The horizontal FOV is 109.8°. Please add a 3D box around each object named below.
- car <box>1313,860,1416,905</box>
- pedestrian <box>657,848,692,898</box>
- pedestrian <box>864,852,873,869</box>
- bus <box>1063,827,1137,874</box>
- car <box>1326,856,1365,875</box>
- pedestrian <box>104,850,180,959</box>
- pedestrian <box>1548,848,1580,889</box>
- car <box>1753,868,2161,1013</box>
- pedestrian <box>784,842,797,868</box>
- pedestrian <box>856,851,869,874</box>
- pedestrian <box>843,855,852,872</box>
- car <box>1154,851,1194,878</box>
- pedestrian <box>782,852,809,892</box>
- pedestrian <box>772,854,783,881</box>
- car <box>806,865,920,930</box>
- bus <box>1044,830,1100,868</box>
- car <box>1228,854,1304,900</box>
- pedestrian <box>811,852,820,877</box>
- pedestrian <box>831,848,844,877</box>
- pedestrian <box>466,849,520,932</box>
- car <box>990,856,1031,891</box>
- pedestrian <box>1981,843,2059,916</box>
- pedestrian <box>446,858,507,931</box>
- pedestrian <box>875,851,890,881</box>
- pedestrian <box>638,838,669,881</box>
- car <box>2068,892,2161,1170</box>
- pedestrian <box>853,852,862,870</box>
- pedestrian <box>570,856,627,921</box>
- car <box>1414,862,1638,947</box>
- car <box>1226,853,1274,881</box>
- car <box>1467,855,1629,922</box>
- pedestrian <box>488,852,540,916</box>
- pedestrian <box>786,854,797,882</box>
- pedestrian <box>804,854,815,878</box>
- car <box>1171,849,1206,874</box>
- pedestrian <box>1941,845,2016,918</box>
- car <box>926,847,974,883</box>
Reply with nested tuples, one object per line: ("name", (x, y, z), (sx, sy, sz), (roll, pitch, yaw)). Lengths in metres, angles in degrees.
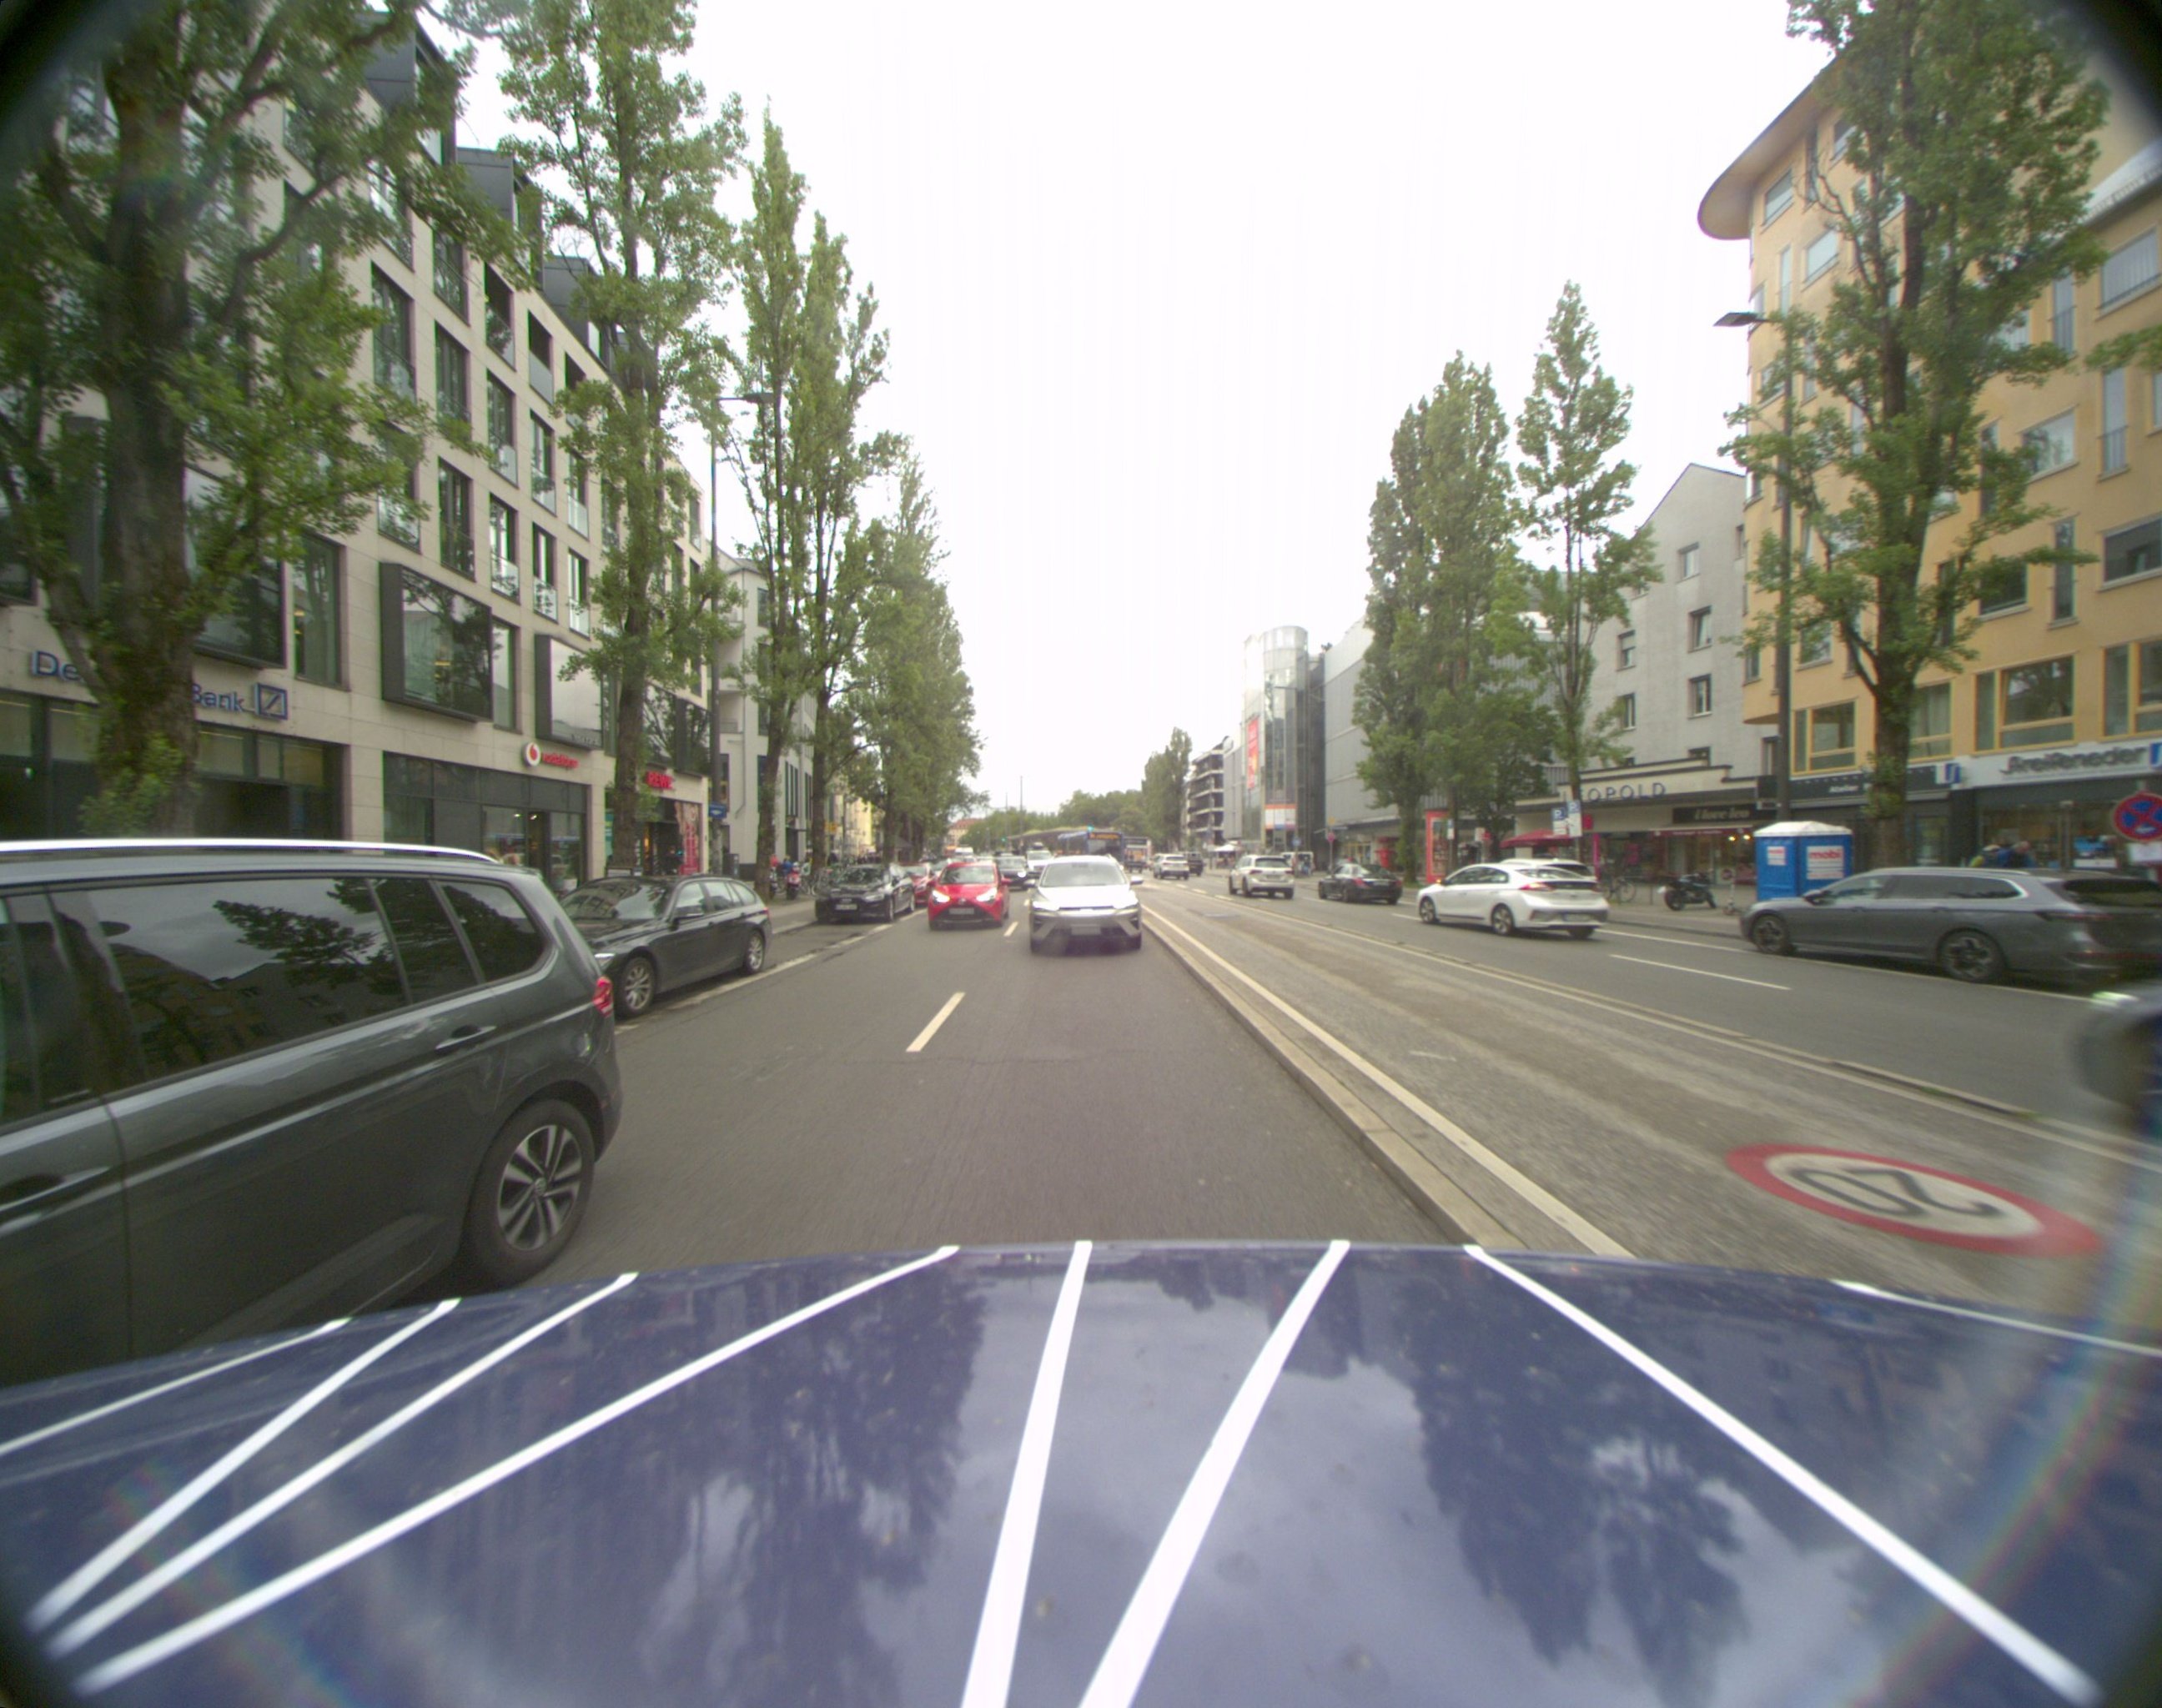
("car", (10.053, 0.970, 27.386), (1.944, 1.426, 4.538), (0, 0, -1))
("pedestrian", (-15.458, 0.714, 28.905), (0.820, 1.858, 0.938), (1, 1, -2))
("pedestrian", (-18.729, 0.558, 66.996), (0.684, 1.549, 0.749), (0, 1, -10))
("bus", (1.078, -0.290, 53.160), (2.944, 2.927, 11.201), (-1, 1, -10))
("car", (20.721, 0.889, 59.730), (1.926, 1.430, 4.509), (0, 0, 6))
("pedestrian", (-13.191, 0.691, 10.682), (0.503, 1.482, 0.548), (0, 1, 26))
("pedestrian", (22.248, 0.670, 35.010), (0.860, 1.888, 0.832), (0, 1, -7))
("car", (12.121, 0.997, 10.470), (1.944, 1.485, 4.295), (0, 0, 1))
("pedestrian", (-18.147, 0.045, 47.469), (0.548, 1.615, 0.508), (-1, 2, 20))
("pedestrian", (-15.837, 0.604, 55.053), (0.802, 1.627, 1.023), (0, 1, -8))
("pedestrian", (-21.533, 0.902, 70.070), (0.693, 1.576, 0.772), (0, 1, -12))
("car", (6.186, 0.658, 51.047), (1.865, 1.701, 4.534), (1, 0, -3))
("pedestrian", (-11.675, 0.713, 31.052), (0.792, 1.610, 0.613), (1, 1, 15))
("pedestrian", (-18.453, 0.789, 46.268), (0.550, 1.615, 0.506), (-2, 2, -23))
("car", (-5.581, 1.051, 20.025), (1.852, 1.420, 4.424), (0, 0, -2))
("bus", (-0.951, -0.444, 64.904), (2.944, 2.927, 11.201), (-1, 1, -10))
("car", (7.198, 0.839, 30.039), (1.944, 1.632, 4.463), (0, 0, 1))
("pedestrian", (-17.144, 0.691, 49.028), (0.492, 1.625, 0.569), (0, 1, -12))
("pedestrian", (-16.342, 0.581, 51.071), (0.648, 1.913, 0.925), (1, 1, -7))
("pedestrian", (-12.874, 0.768, 16.643), (0.794, 1.762, 0.683), (1, 1, 30))
("car", (-3.272, 0.874, 35.127), (1.741, 1.462, 4.048), (-1, 0, -6))
("pedestrian", (21.693, 0.578, 17.570), (0.842, 1.616, 0.763), (-2, 2, -1))
("pedestrian", (-13.768, 0.909, 17.322), (0.738, 1.611, 0.837), (0, 1, -4))
("pedestrian", (-11.407, 0.673, 43.622), (0.716, 1.666, 0.783), (1, 1, -7))
("pedestrian", (-16.594, 0.218, 29.488), (0.755, 1.651, 0.796), (0, 1, -1))
("car", (6.584, 0.949, 1.919), (1.998, 1.423, 4.772), (1, 0, 1))
("pedestrian", (-20.481, 0.655, 69.556), (0.693, 1.639, 0.797), (0, 1, -12))
("pedestrian", (-11.904, 0.835, 18.778), (0.837, 1.567, 0.937), (0, 1, -6))
("car", (9.060, 0.939, 15.988), (1.945, 1.485, 4.293), (0, 0, -5))
("car", (10.342, 0.753, 46.914), (1.998, 1.641, 4.636), (1, 0, 1))
("car", (12.829, 0.872, 21.277), (1.998, 1.620, 4.382), (0, 0, 3))
("pedestrian", (-14.498, 0.754, 19.444), (0.796, 1.611, 0.717), (0, 1, -3))
("pedestrian", (-16.416, 0.788, 43.042), (0.492, 1.558, 0.569), (0, 1, -12))
("pedestrian", (-18.254, 0.795, 51.040), (0.566, 1.567, 0.675), (0, 1, -34))
("car", (8.652, 0.573, 61.594), (1.998, 1.853, 5.711), (2, 0, 1))
("pedestrian", (20.826, 0.623, 17.644), (0.842, 1.616, 0.763), (-2, 2, -1))
("car", (-6.868, 0.525, 40.271), (1.930, 1.690, 4.648), (-2, 1, -3))
